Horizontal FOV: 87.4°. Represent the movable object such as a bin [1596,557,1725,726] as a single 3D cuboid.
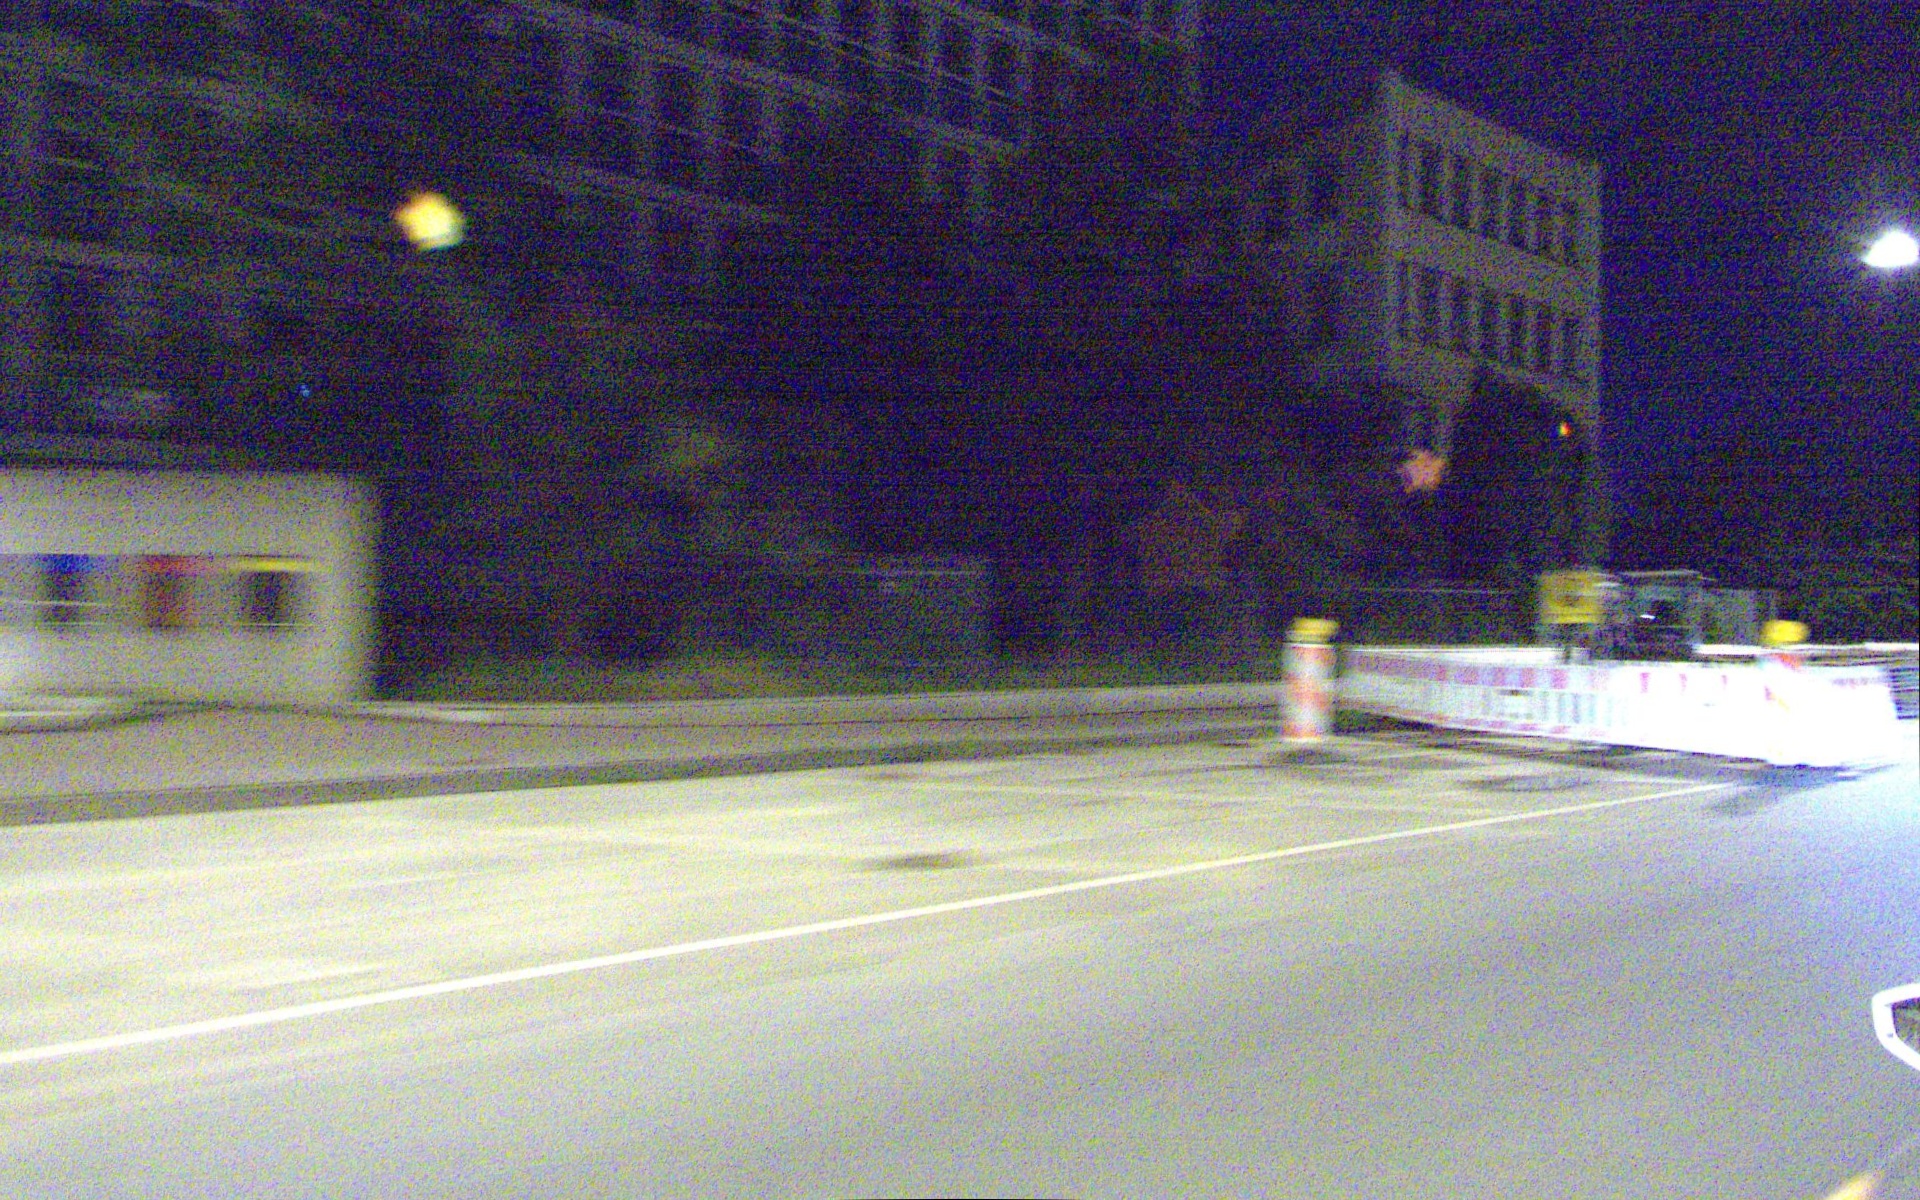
[{"bbox_3d":[11.532,0.683,16.481,1.529,2.499,2.828,-2,-3,38],"label":"movable object such as a bin"}]
